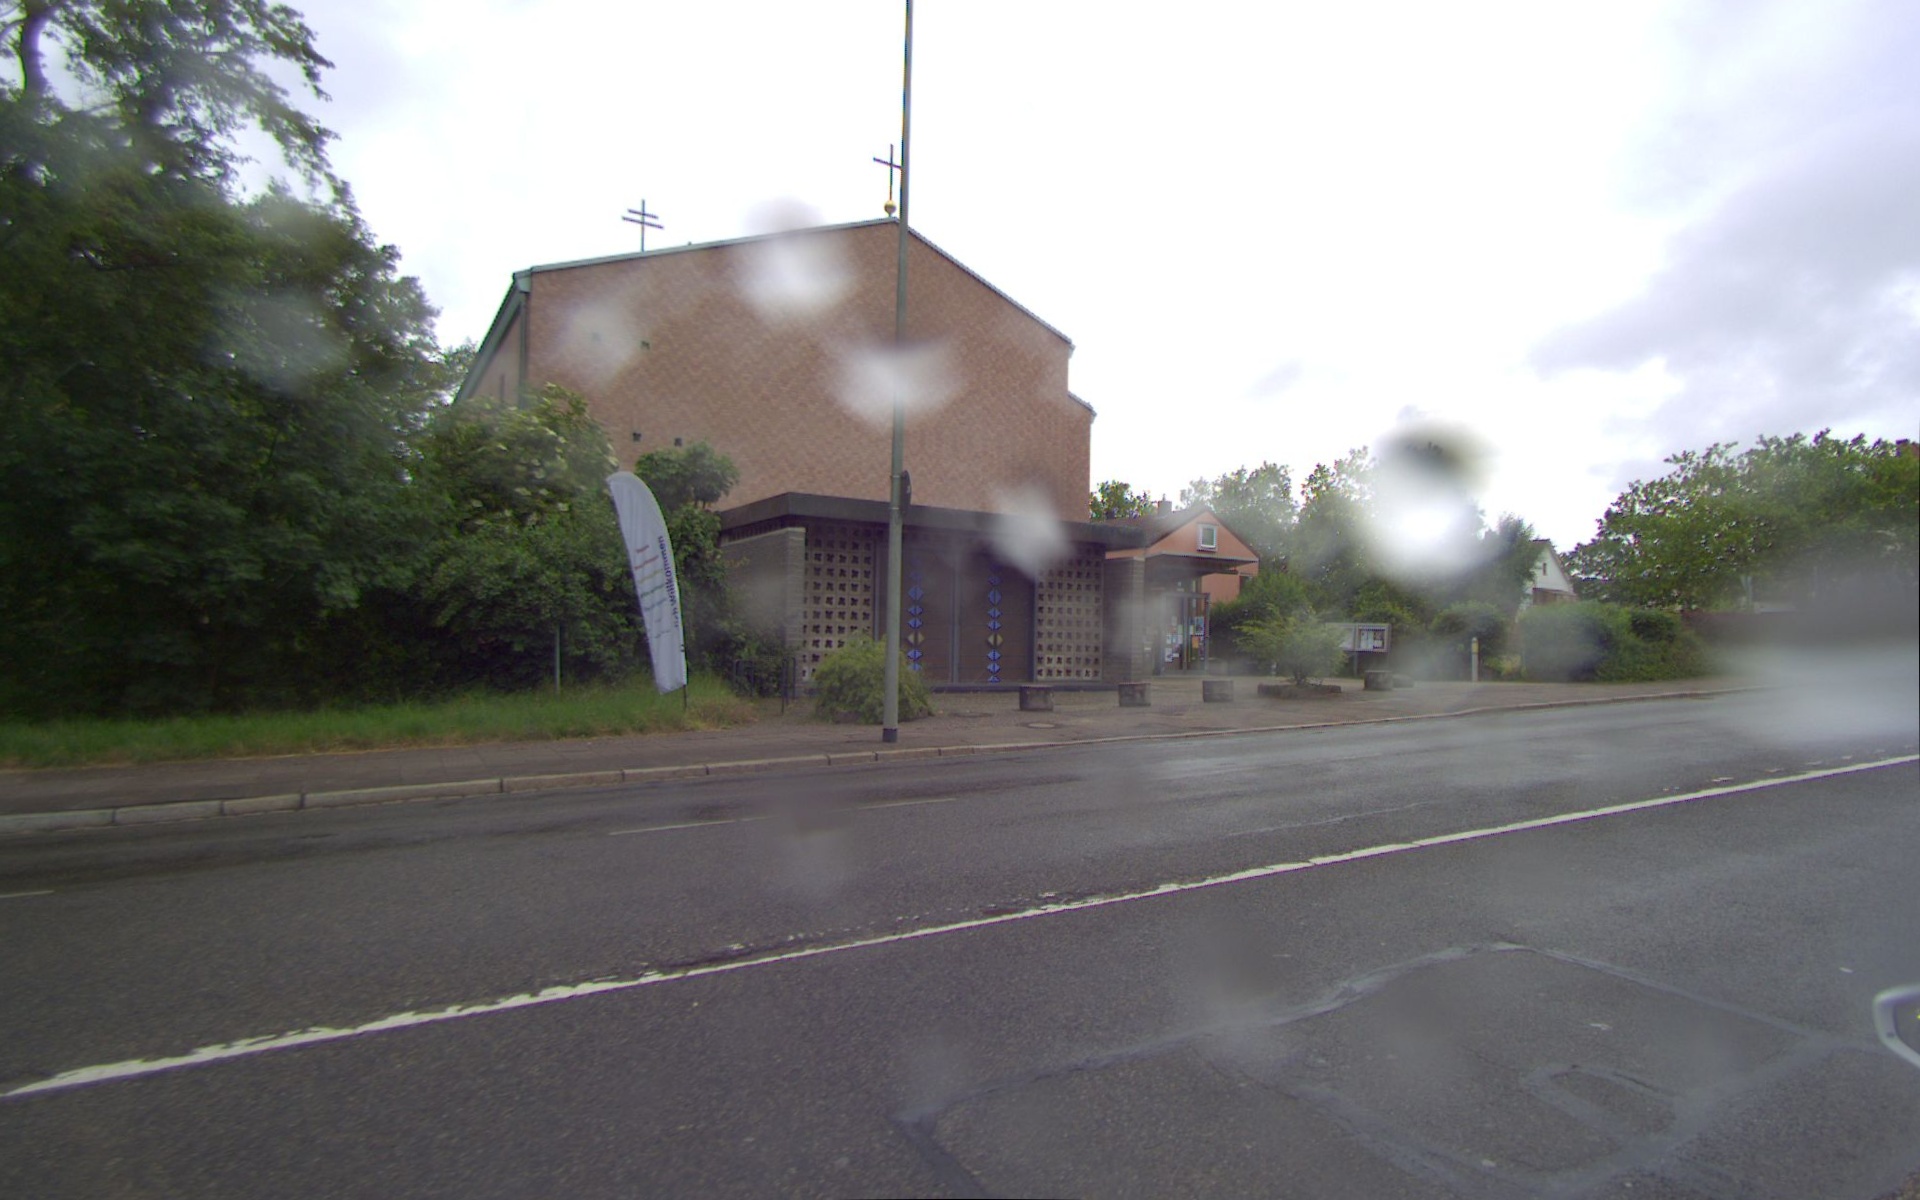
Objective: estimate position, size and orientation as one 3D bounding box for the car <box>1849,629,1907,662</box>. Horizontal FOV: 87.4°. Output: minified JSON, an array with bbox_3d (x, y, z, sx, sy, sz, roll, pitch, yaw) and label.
[{"bbox_3d":[48.118,2.356,52.734,1.969,1.572,3.983,-1,-1,39],"label":"car"}]
